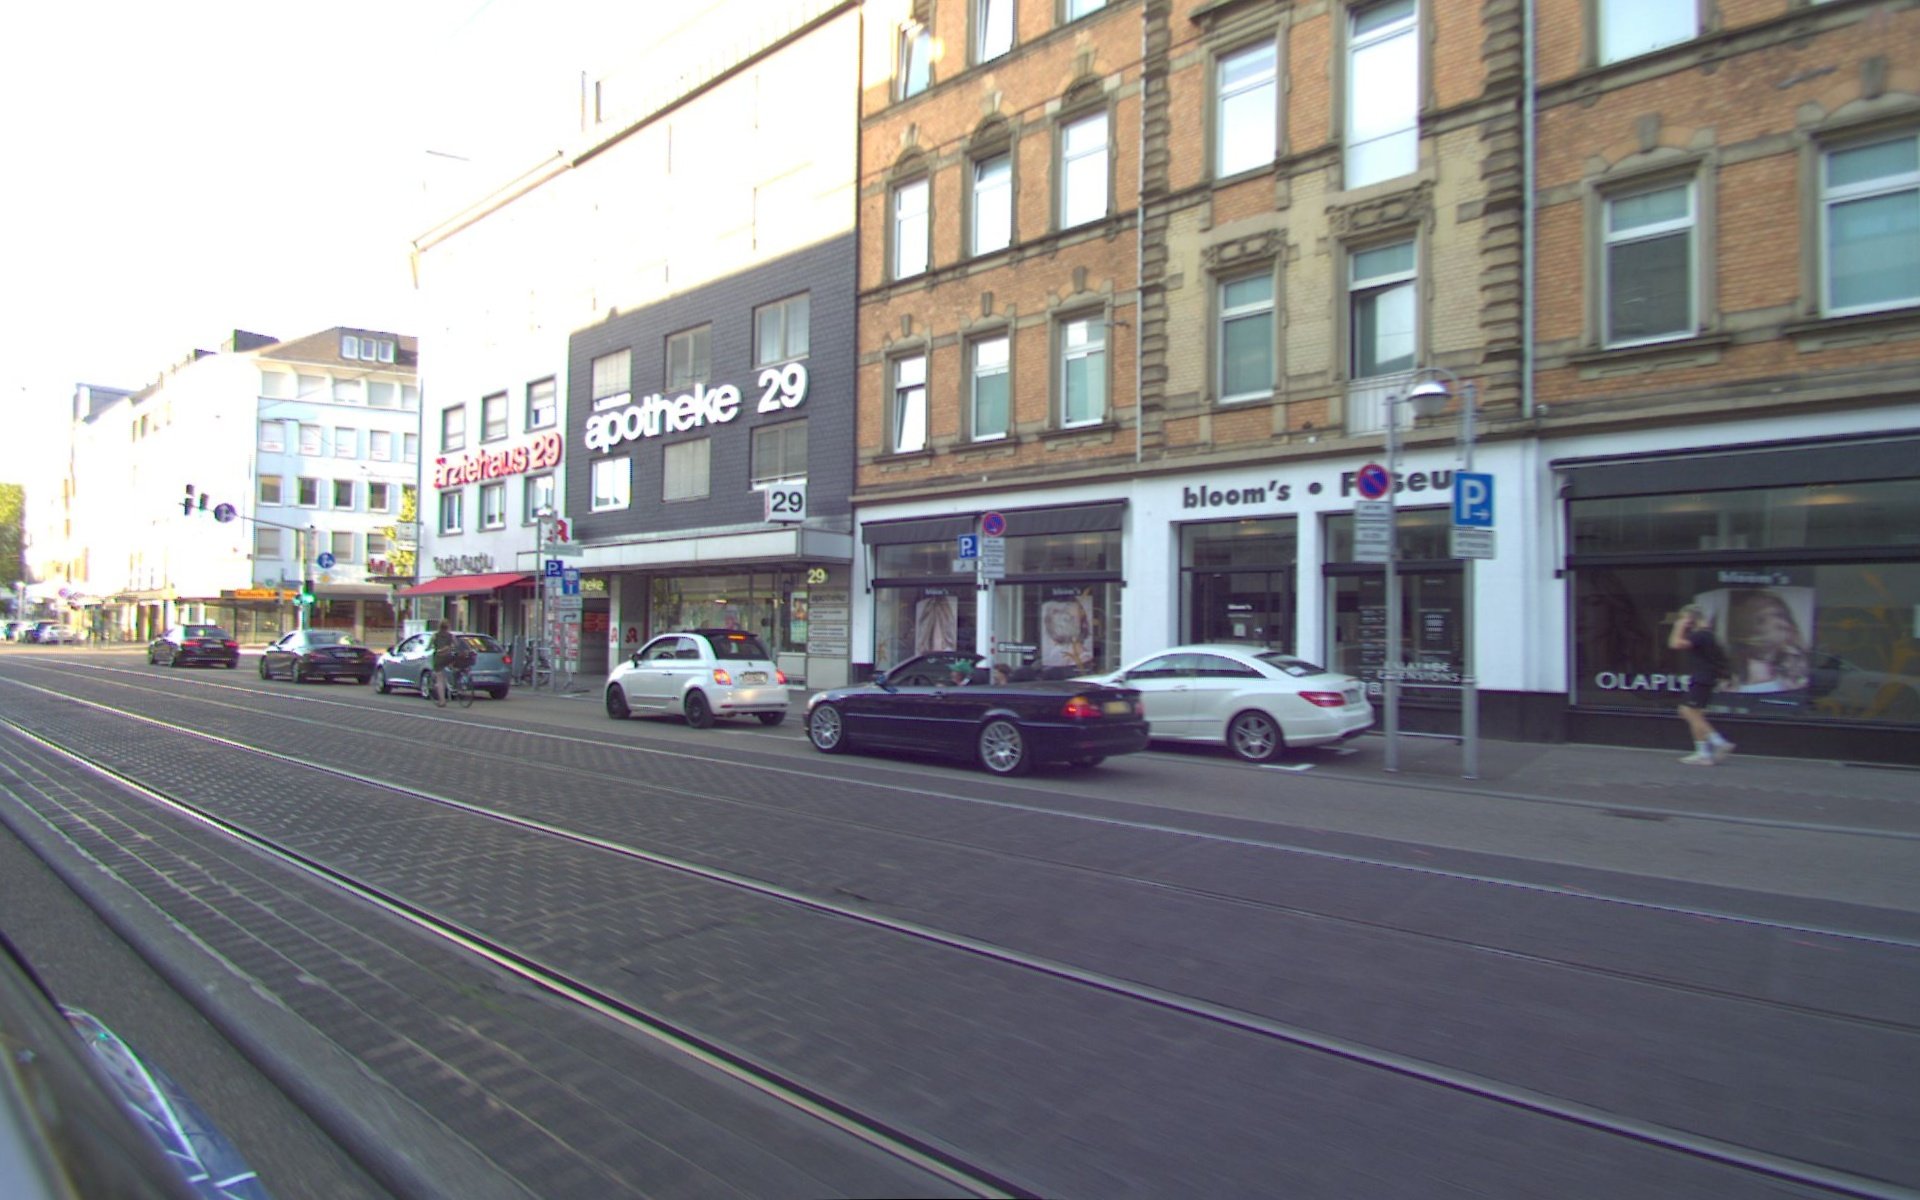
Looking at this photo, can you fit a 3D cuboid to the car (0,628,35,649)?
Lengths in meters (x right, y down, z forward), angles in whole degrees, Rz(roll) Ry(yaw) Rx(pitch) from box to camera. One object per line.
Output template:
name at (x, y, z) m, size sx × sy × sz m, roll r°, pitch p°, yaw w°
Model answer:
car at (-74.292, 3.030, 79.681) m, size 4.000 × 1.648 × 1.822 m, roll -1°, pitch -3°, yaw 43°

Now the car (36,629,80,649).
car at (-60.118, 2.566, 67.407) m, size 4.000 × 1.304 × 1.822 m, roll -1°, pitch -2°, yaw 43°

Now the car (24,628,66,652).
car at (-63.537, 2.749, 70.282) m, size 4.000 × 1.648 × 1.822 m, roll -1°, pitch -3°, yaw 43°

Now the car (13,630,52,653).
car at (-68.570, 3.050, 74.776) m, size 4.000 × 1.648 × 1.822 m, roll -1°, pitch -3°, yaw 43°

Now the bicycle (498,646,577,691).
bicycle at (-10.854, 1.748, 26.043) m, size 0.462 × 0.991 × 1.837 m, roll -1°, pitch 0°, yaw 40°

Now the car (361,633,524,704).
car at (-11.345, 1.462, 22.094) m, size 4.059 × 1.397 × 1.740 m, roll -1°, pitch -5°, yaw 41°

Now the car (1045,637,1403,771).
car at (3.386, 1.240, 13.422) m, size 4.268 × 1.400 × 1.742 m, roll -1°, pitch 0°, yaw 39°

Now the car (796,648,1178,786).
car at (0.175, 1.226, 11.607) m, size 4.270 × 1.237 × 1.650 m, roll -1°, pitch -5°, yaw 40°

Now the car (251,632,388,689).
car at (-17.465, 1.623, 27.519) m, size 4.561 × 1.397 × 1.895 m, roll -1°, pitch -5°, yaw 41°

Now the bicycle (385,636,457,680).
bicycle at (-16.583, 1.761, 31.171) m, size 0.607 × 1.236 × 1.837 m, roll -1°, pitch 0°, yaw 40°

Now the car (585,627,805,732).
car at (-4.404, 1.253, 16.615) m, size 3.678 × 1.517 × 1.650 m, roll -1°, pitch -5°, yaw 40°

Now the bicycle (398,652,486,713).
bicycle at (-9.735, 1.522, 18.981) m, size 2.079 × 1.042 × 0.686 m, roll -1°, pitch -2°, yaw 39°

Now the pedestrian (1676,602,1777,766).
pedestrian at (8.749, 0.926, 11.552) m, size 0.854 × 1.786 × 0.641 m, roll -1°, pitch -1°, yaw 41°

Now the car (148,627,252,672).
car at (-26.084, 1.687, 34.669) m, size 4.561 × 1.397 × 1.895 m, roll -1°, pitch -5°, yaw 41°

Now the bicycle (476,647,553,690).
bicycle at (-11.815, 1.789, 26.874) m, size 0.492 × 0.991 × 1.837 m, roll -1°, pitch 0°, yaw 40°

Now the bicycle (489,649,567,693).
bicycle at (-11.245, 1.839, 26.378) m, size 0.462 × 0.991 × 1.837 m, roll -1°, pitch 0°, yaw 40°

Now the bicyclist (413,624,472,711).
bicyclist at (-9.686, 1.240, 18.943) m, size 0.798 × 1.577 × 0.686 m, roll -1°, pitch -2°, yaw 39°
